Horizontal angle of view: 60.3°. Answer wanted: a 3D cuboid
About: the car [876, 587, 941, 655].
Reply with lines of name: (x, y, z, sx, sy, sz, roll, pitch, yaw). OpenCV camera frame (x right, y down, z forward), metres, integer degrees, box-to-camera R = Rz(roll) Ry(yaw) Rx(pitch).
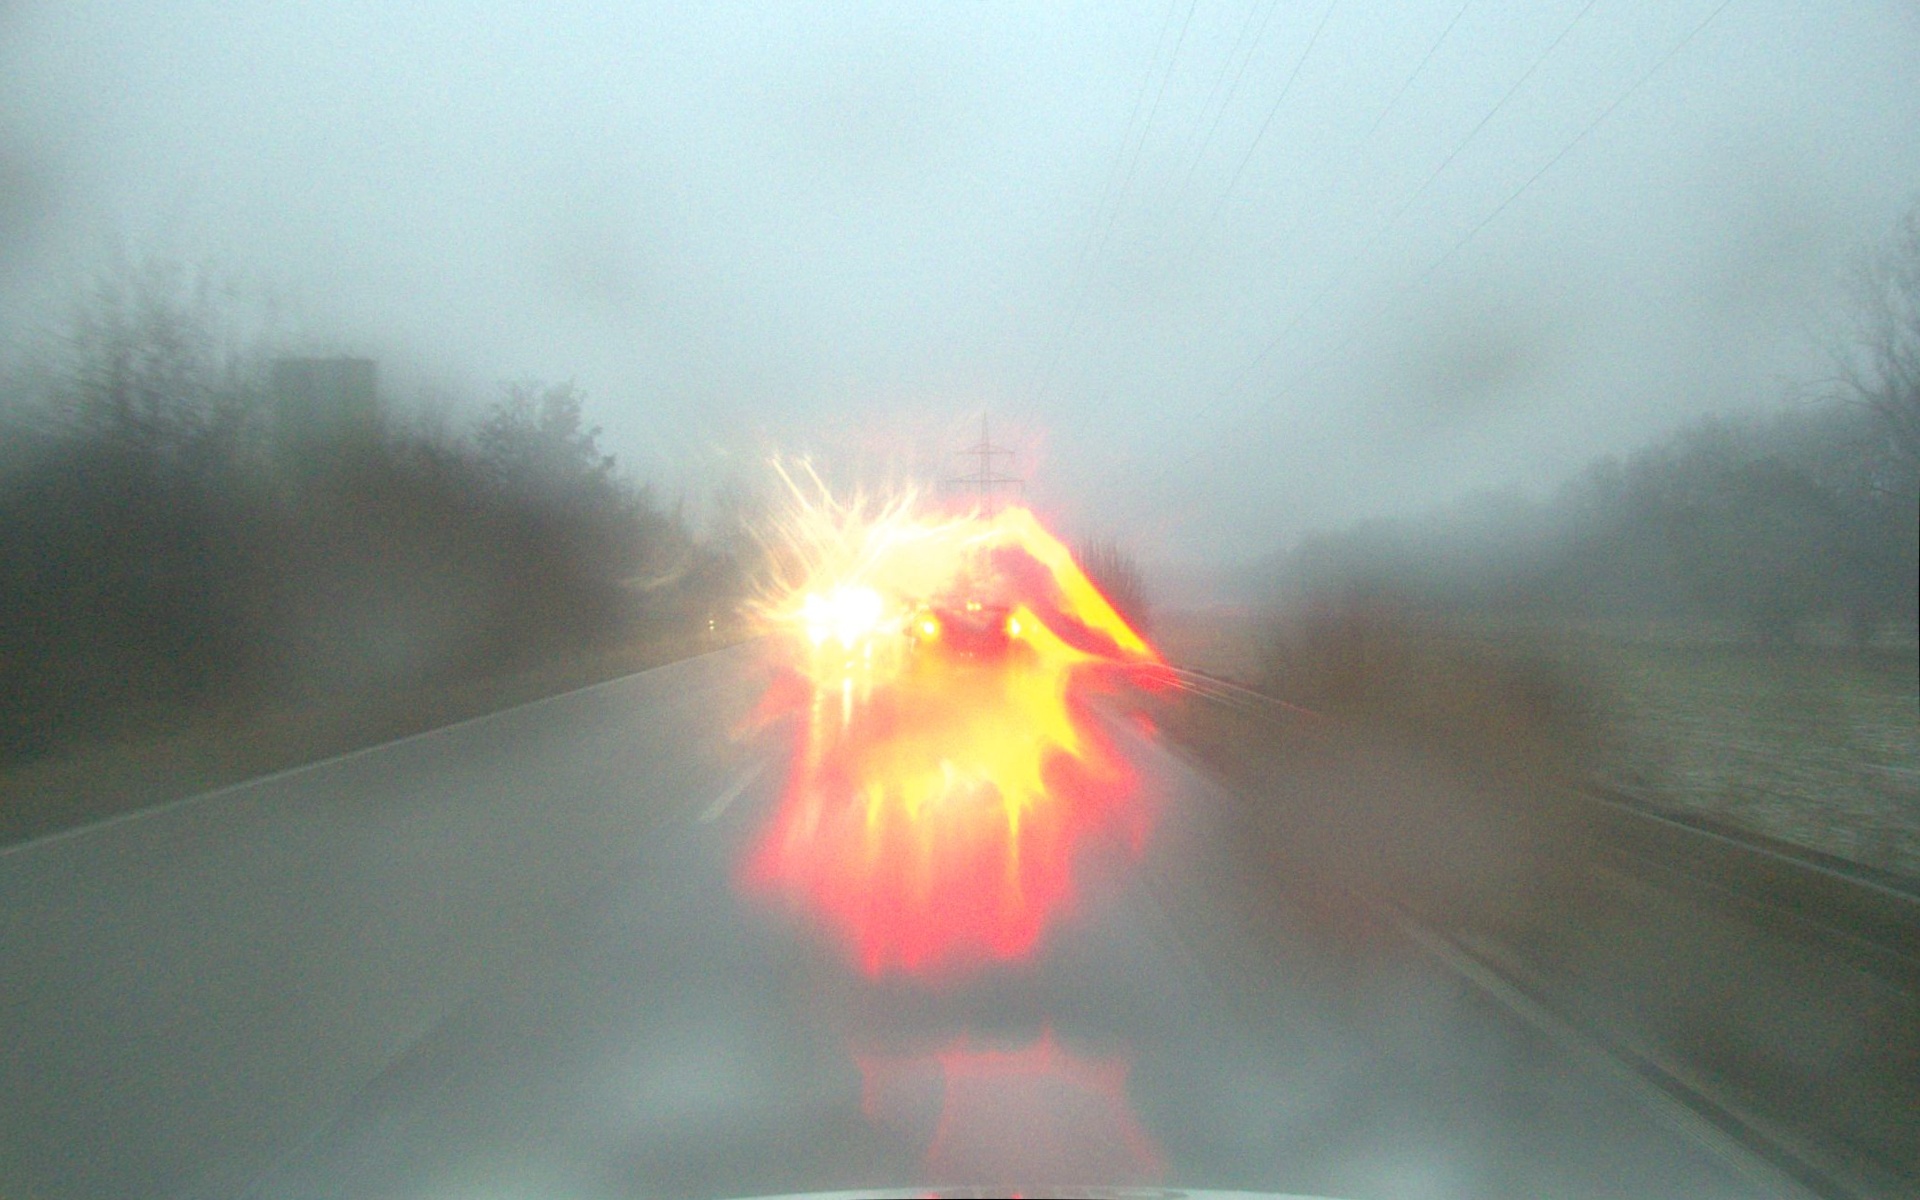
car: (-1.642, 0.644, 51.802, 1.816, 2.049, 3.996, 1, 0, -5)

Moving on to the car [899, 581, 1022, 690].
car: (-0.052, 0.471, 23.375, 1.471, 1.423, 3.196, 1, 0, -5)

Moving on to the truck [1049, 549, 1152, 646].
truck: (4.610, -0.074, 55.841, 2.483, 3.030, 7.854, 1, 0, -2)
